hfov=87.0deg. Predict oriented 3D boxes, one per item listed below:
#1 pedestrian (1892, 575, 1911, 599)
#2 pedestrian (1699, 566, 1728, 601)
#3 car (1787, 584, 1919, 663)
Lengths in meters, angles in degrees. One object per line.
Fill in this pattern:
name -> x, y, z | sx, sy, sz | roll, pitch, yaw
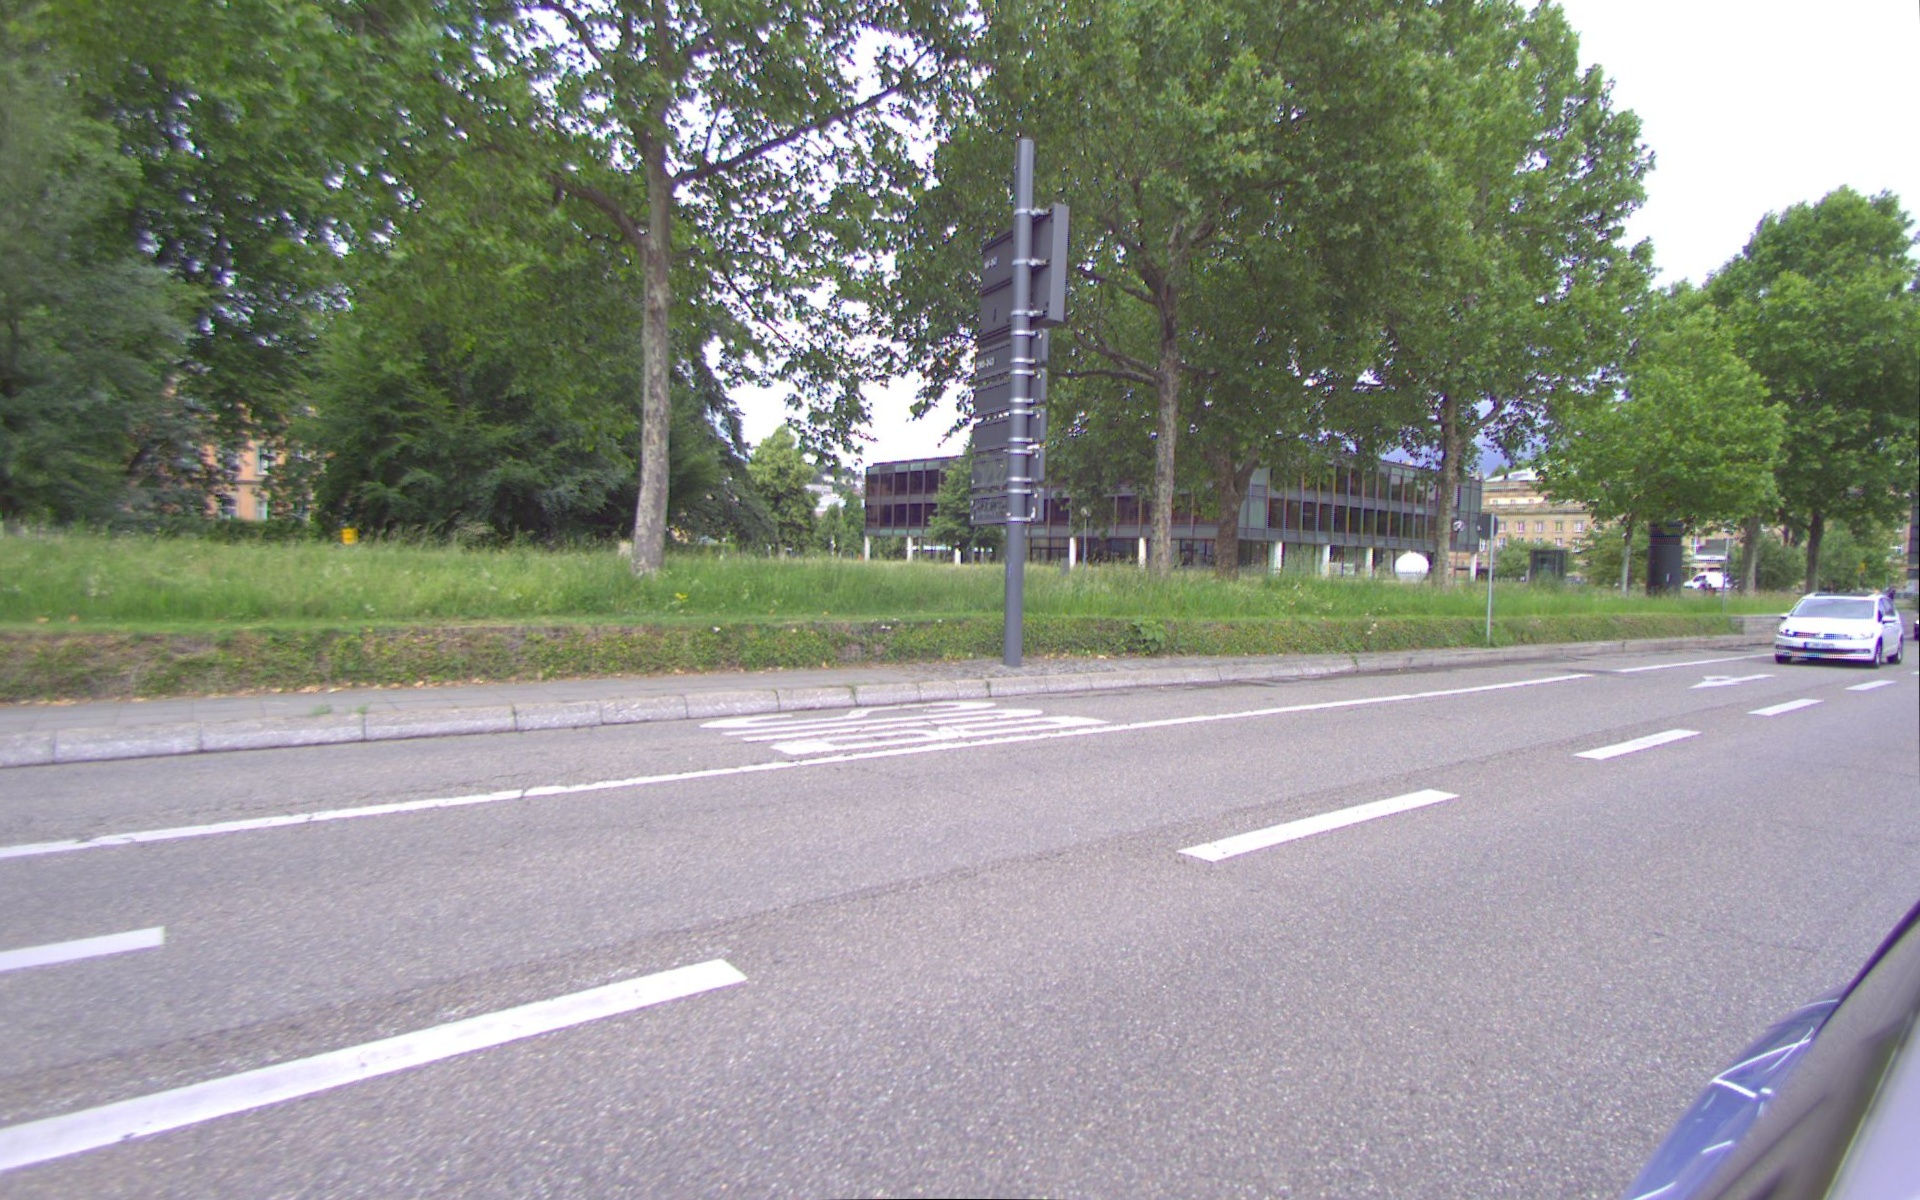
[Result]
pedestrian -> 66.837, -0.908, 71.820 | 0.614, 1.646, 0.805 | 1, 2, -32
pedestrian -> 40.364, -0.870, 54.234 | 0.981, 1.859, 1.029 | -1, 0, -38
car -> 20.557, 0.460, 23.186 | 3.928, 1.613, 1.696 | -1, 2, -39
